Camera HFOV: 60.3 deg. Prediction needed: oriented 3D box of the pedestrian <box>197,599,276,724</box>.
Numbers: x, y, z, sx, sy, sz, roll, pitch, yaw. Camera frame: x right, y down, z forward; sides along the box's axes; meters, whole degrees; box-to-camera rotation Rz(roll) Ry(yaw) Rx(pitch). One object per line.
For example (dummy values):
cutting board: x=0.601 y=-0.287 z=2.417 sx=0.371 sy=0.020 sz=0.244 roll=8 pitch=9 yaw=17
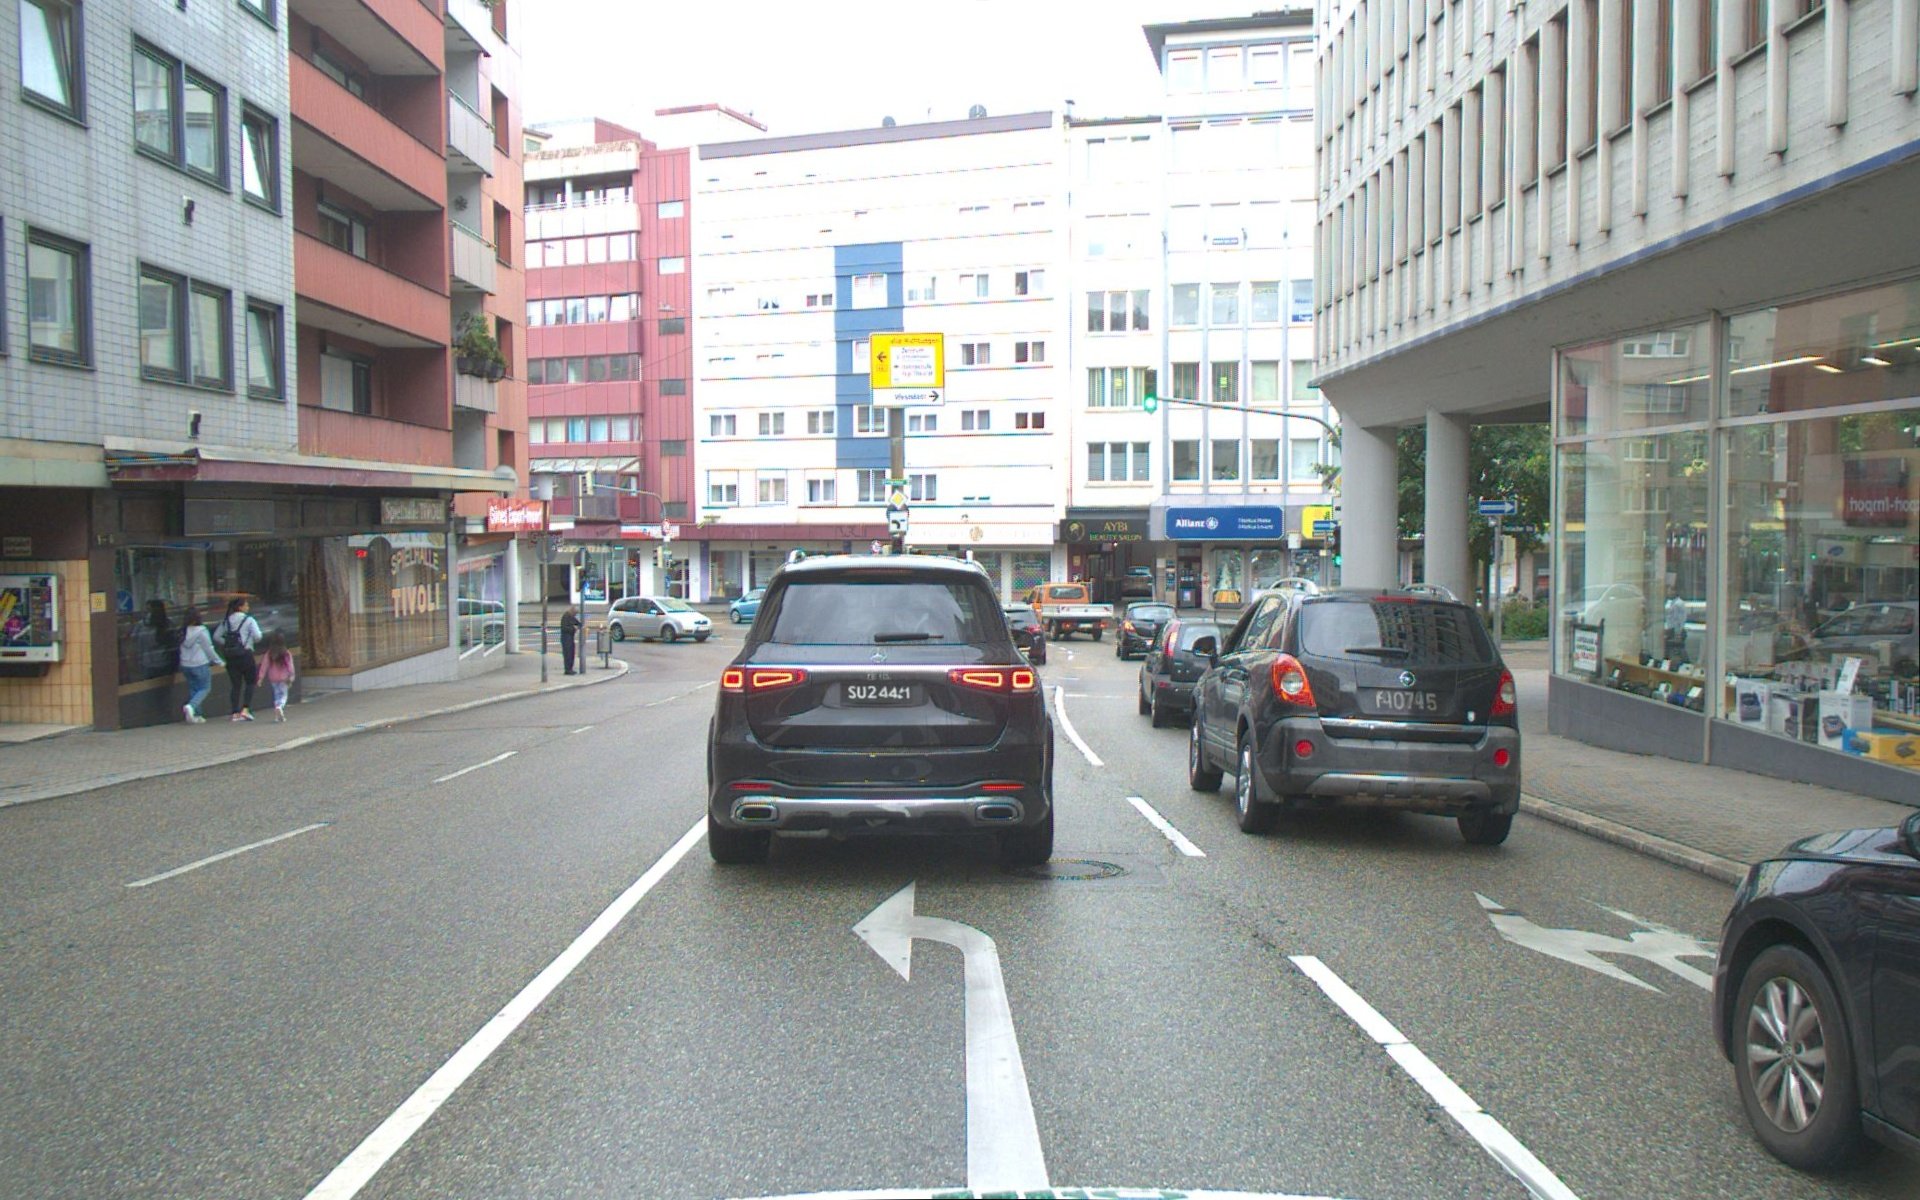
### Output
pedestrian: x=-10.198 y=0.856 z=23.339 sx=0.812 sy=1.719 sz=0.722 roll=2 pitch=-1 yaw=-9

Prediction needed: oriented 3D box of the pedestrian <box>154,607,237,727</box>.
pedestrian: x=-10.422 y=0.907 z=22.572 sx=0.812 sy=1.588 sz=0.722 roll=2 pitch=-1 yaw=-9

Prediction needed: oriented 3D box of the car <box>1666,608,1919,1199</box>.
car: x=3.224 y=0.823 z=3.419 sx=1.654 sy=1.503 sz=3.998 roll=3 pitch=0 yaw=-2

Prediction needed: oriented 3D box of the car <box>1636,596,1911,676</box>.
car: x=16.608 y=0.695 z=33.915 sx=4.763 sy=1.521 sz=1.847 roll=0 pitch=0 yaw=41

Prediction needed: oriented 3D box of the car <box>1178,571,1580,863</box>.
car: x=2.911 y=0.730 z=12.554 sx=1.859 sy=1.724 sz=4.505 roll=3 pitch=0 yaw=0

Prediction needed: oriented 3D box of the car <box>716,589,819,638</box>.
car: x=-8.218 y=0.565 z=70.464 sx=4.096 sy=1.870 sz=1.991 roll=2 pitch=0 yaw=38

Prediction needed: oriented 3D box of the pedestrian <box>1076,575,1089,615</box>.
pedestrian: x=5.550 y=-0.217 z=75.030 sx=0.552 sy=1.717 sz=0.757 roll=0 pitch=6 yaw=6

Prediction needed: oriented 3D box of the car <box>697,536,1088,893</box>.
car: x=-0.425 y=0.595 z=10.925 sx=1.998 sy=1.830 sz=4.661 roll=1 pitch=0 yaw=-2

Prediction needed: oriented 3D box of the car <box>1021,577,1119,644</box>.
car: x=3.928 y=0.380 z=60.042 sx=2.202 sy=2.267 sz=5.413 roll=1 pitch=0 yaw=-11

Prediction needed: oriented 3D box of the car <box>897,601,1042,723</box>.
car: x=0.183 y=0.792 z=23.404 sx=1.834 sy=1.521 sz=4.401 roll=1 pitch=0 yaw=2

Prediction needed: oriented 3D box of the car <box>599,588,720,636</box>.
car: x=-10.694 y=0.429 z=58.857 sx=4.084 sy=1.620 sz=1.737 roll=0 pitch=1 yaw=30

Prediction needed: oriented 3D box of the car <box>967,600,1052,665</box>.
car: x=1.193 y=0.784 z=41.533 sx=1.953 sy=1.512 sz=4.236 roll=-1 pitch=0 yaw=-1

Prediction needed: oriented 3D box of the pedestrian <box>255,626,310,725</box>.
pedestrian: x=-9.560 y=1.055 z=23.352 sx=0.523 sy=1.346 sz=0.722 roll=2 pitch=0 yaw=-9

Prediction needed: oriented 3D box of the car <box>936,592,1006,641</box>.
car: x=0.320 y=0.582 z=56.619 sx=1.887 sy=1.542 sz=4.656 roll=2 pitch=-2 yaw=-6

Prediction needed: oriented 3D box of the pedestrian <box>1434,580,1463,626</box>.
pedestrian: x=20.618 y=0.133 z=69.786 sx=0.874 sy=1.859 sz=0.676 roll=4 pitch=-2 yaw=-17

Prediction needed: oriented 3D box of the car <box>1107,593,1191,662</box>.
car: x=4.962 y=0.722 z=44.014 sx=1.785 sy=1.687 sz=4.496 roll=1 pitch=-1 yaw=1

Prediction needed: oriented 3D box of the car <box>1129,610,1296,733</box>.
car: x=3.405 y=0.917 z=22.954 sx=1.730 sy=1.421 sz=4.001 roll=3 pitch=0 yaw=1

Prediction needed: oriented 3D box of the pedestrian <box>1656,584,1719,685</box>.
pedestrian: x=13.739 y=0.645 z=31.257 sx=0.707 sy=1.850 sz=0.829 roll=-2 pitch=-1 yaw=-7

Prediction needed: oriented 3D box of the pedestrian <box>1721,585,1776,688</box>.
pedestrian: x=13.630 y=0.624 z=28.611 sx=0.706 sy=1.719 sz=0.830 roll=-3 pitch=-1 yaw=21

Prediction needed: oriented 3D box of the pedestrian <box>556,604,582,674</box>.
pedestrian: x=-9.767 y=0.957 z=41.321 sx=0.543 sy=1.727 sz=0.623 roll=0 pitch=0 yaw=-4

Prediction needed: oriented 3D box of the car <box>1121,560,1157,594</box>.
car: x=9.406 y=-1.183 z=86.732 sx=1.759 sy=1.699 sz=4.003 roll=-1 pitch=0 yaw=8
